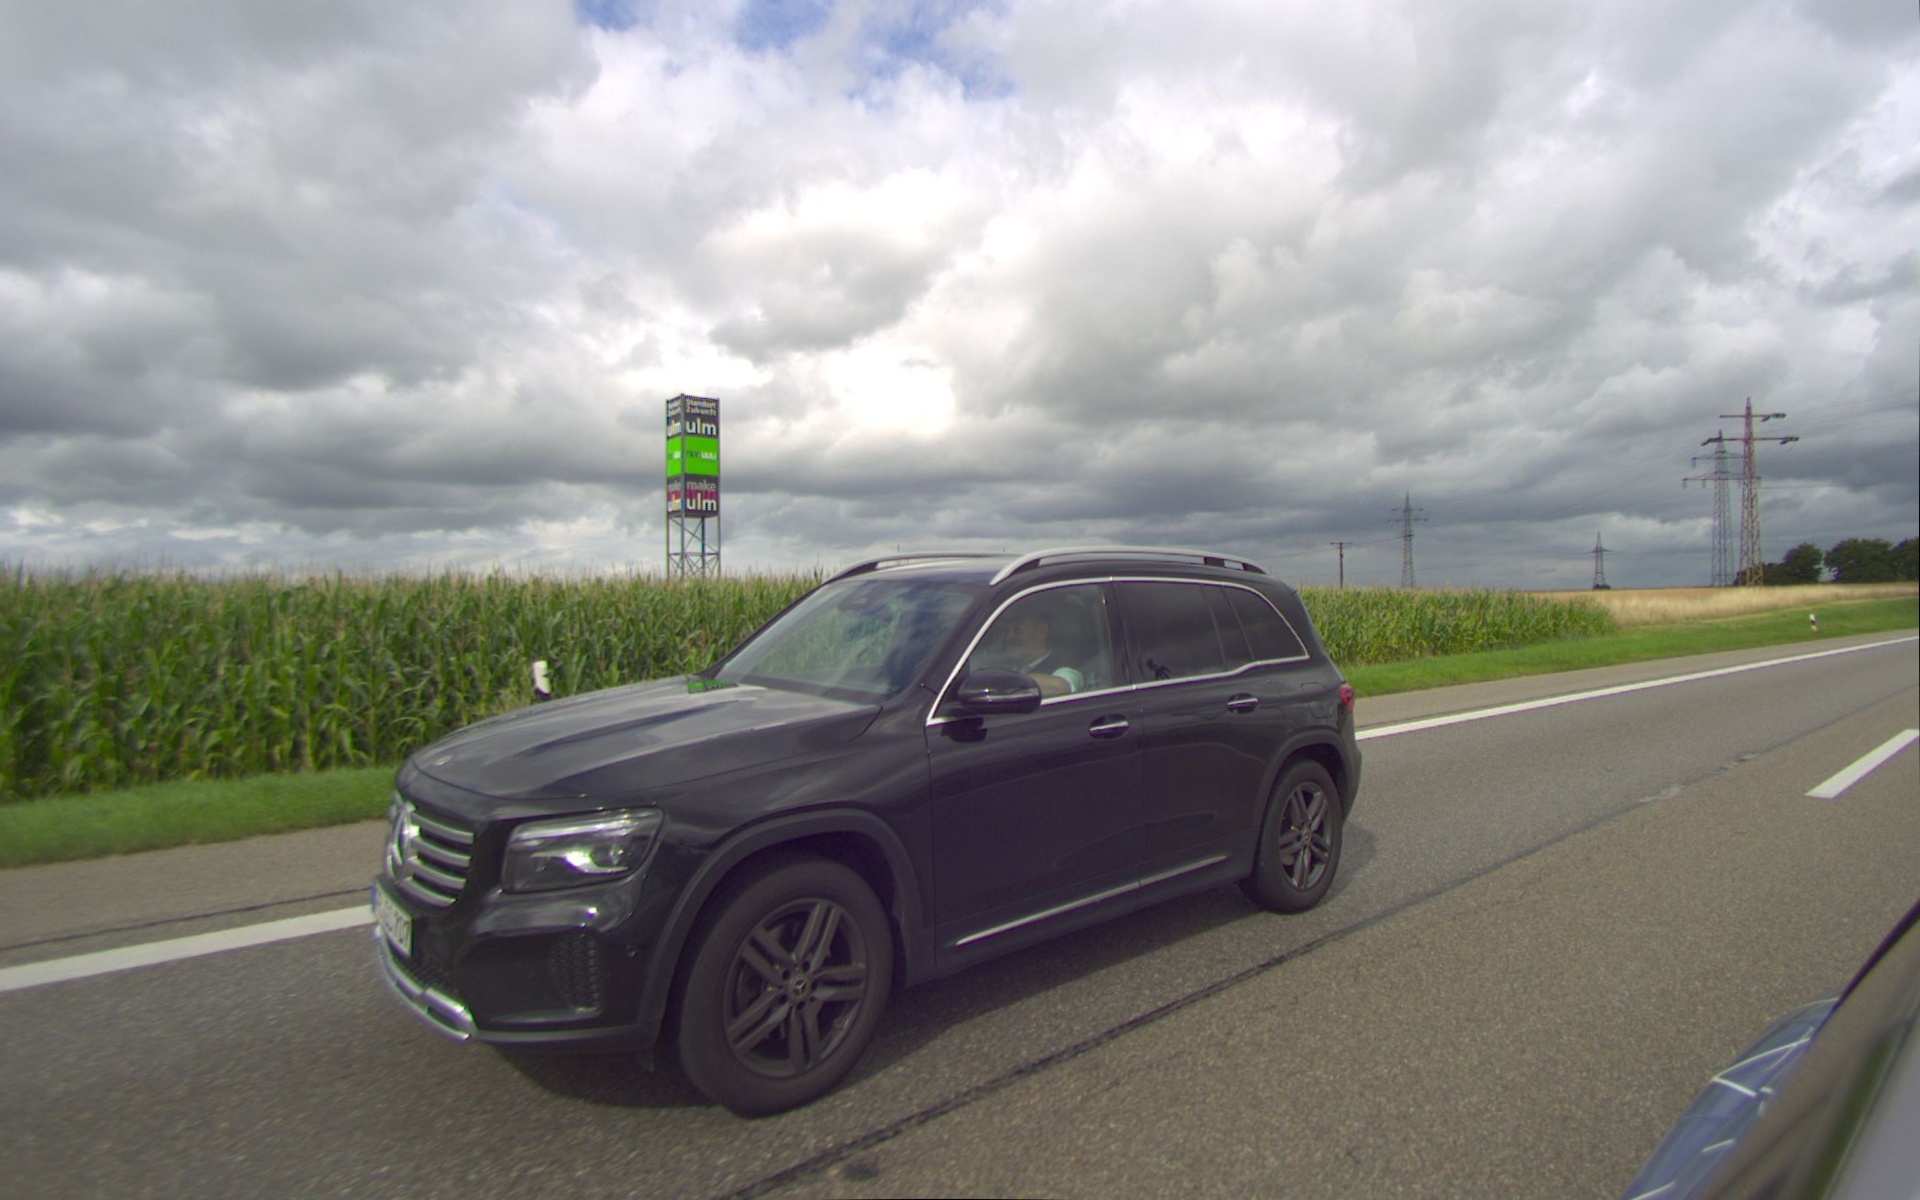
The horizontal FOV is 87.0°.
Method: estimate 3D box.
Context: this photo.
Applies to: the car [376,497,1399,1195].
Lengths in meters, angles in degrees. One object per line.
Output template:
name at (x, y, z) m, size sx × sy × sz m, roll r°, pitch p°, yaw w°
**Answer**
car at (0.033, 0.543, 4.470) m, size 4.284 × 1.629 × 1.837 m, roll -1°, pitch 1°, yaw -41°
